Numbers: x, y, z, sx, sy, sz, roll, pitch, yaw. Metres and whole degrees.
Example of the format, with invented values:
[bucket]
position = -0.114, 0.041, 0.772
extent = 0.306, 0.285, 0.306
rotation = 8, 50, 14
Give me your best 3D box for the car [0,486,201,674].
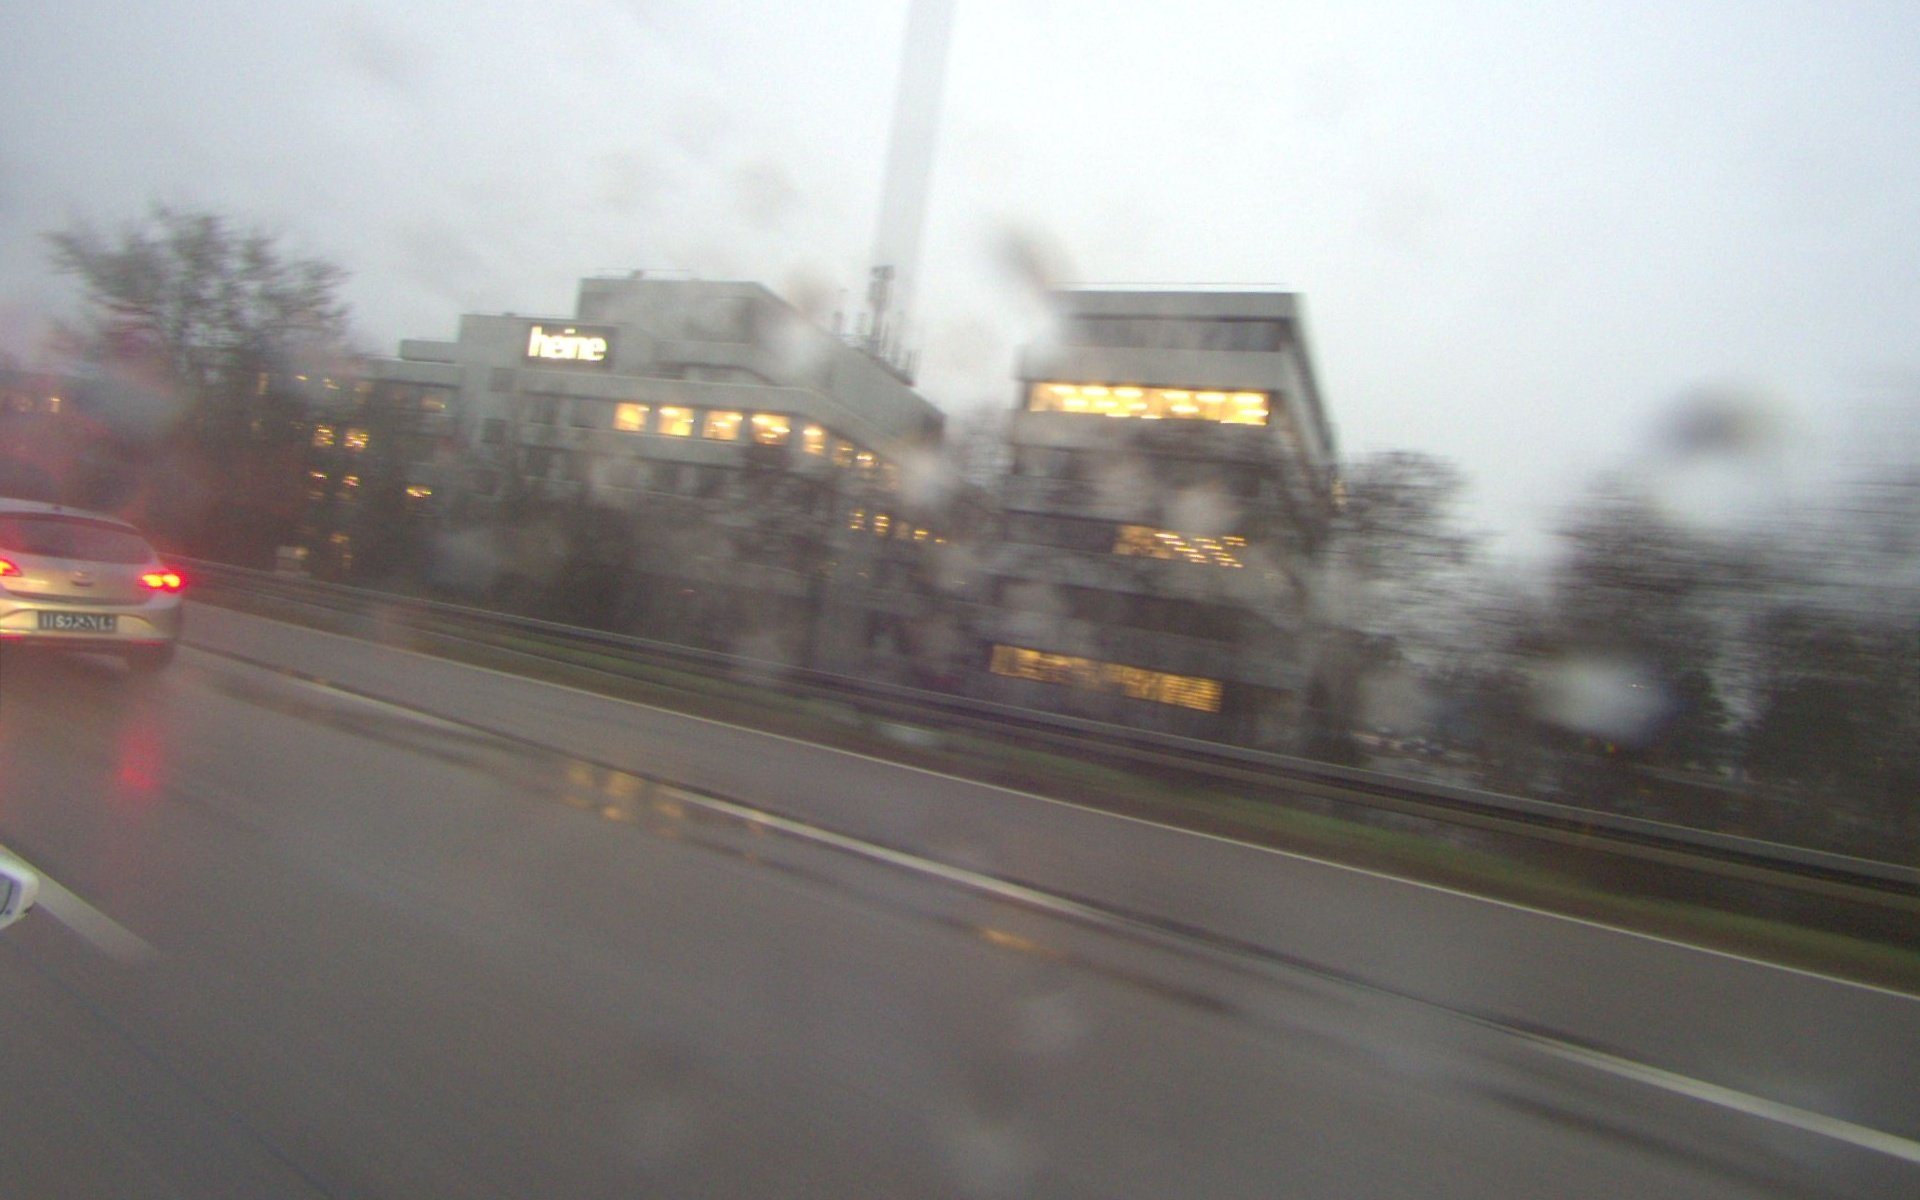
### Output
[car]
position = -9.556, -0.343, 9.866
extent = 4.191, 1.519, 1.853
rotation = 7, -1, 31
